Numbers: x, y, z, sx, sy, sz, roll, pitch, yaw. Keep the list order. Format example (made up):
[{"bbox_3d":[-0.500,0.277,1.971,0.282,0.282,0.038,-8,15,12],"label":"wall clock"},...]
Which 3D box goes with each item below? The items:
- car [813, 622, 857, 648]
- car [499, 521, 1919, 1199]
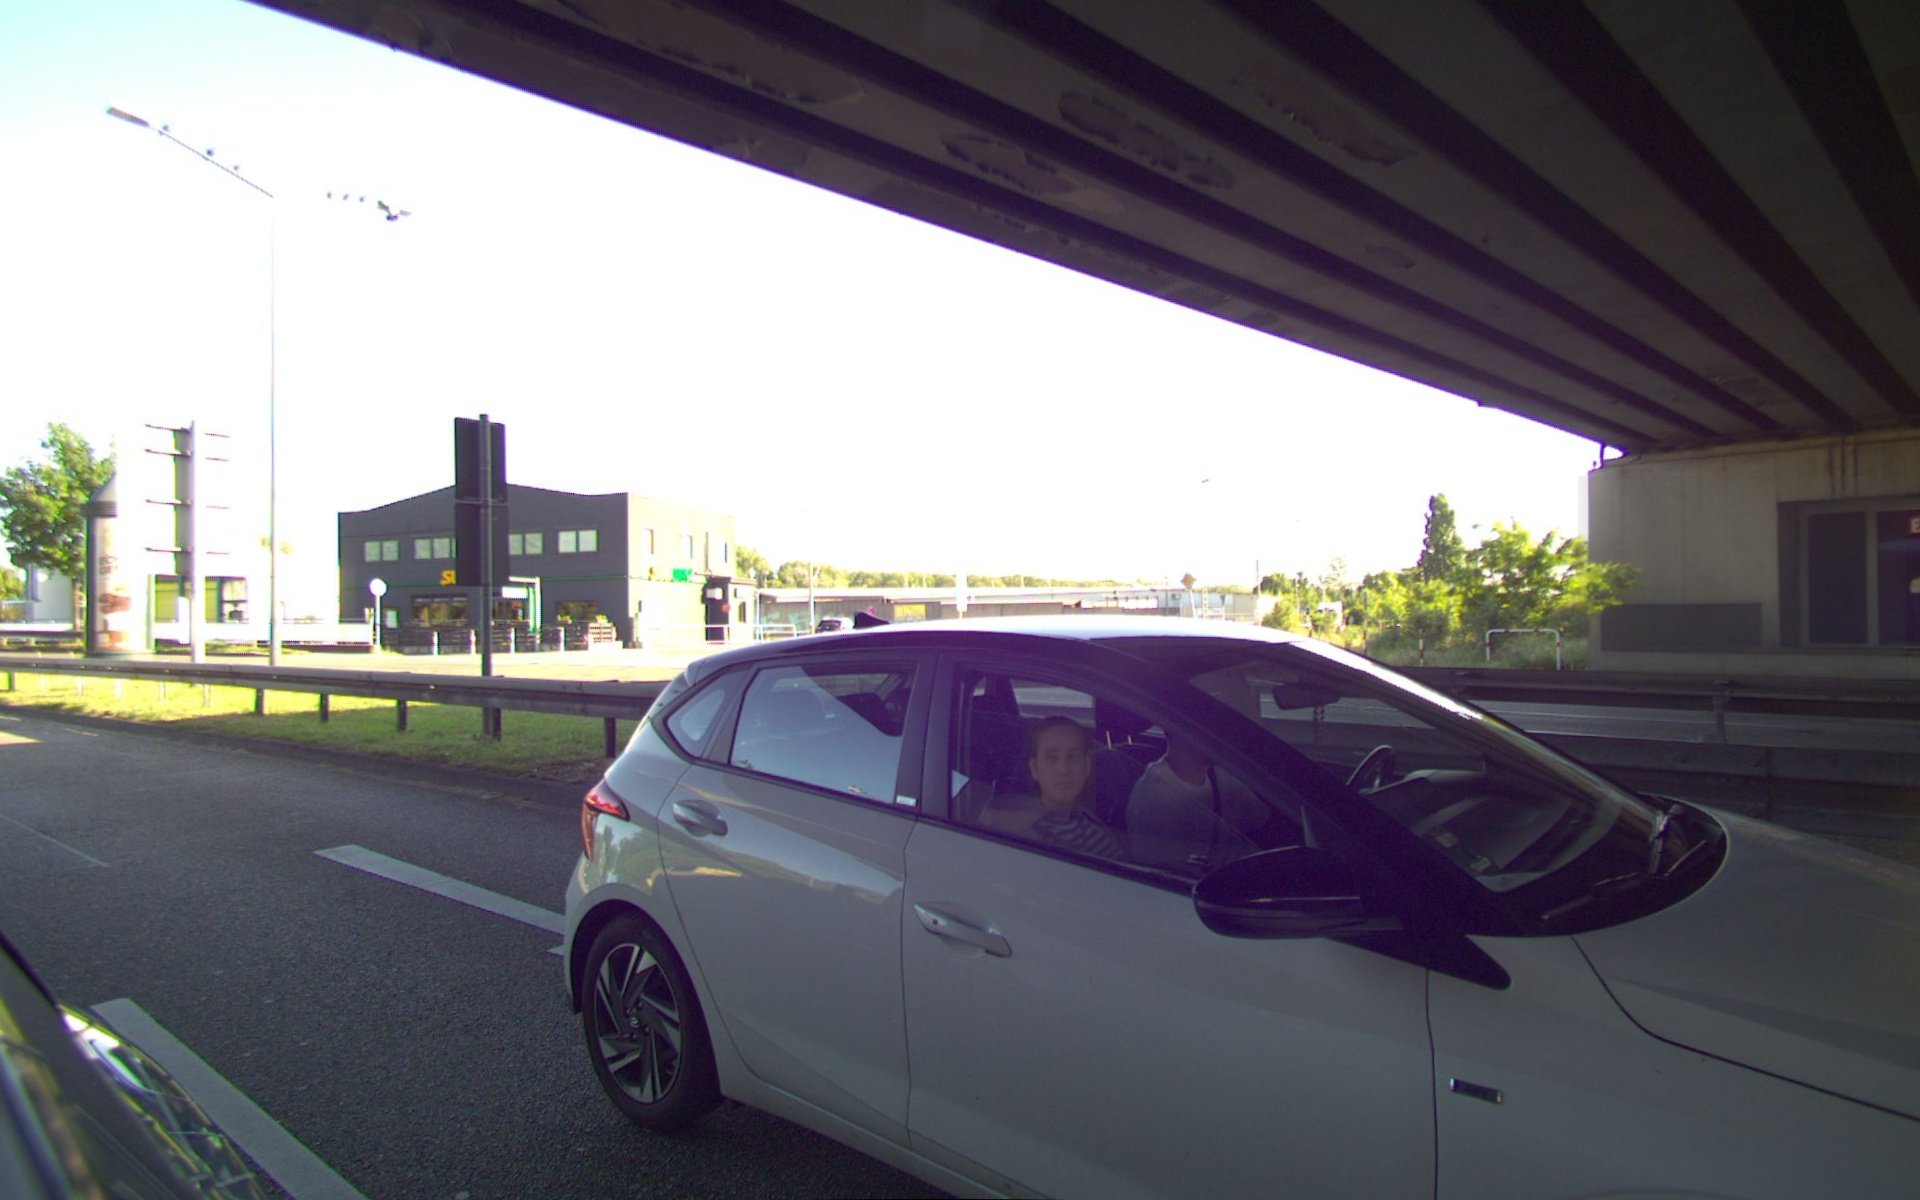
[{"bbox_3d":[-6.746,1.928,54.955,1.806,1.291,4.180,1,-3,1],"label":"car"},{"bbox_3d":[0.623,0.695,2.601,3.986,1.491,1.716,-2,-2,39],"label":"car"}]
